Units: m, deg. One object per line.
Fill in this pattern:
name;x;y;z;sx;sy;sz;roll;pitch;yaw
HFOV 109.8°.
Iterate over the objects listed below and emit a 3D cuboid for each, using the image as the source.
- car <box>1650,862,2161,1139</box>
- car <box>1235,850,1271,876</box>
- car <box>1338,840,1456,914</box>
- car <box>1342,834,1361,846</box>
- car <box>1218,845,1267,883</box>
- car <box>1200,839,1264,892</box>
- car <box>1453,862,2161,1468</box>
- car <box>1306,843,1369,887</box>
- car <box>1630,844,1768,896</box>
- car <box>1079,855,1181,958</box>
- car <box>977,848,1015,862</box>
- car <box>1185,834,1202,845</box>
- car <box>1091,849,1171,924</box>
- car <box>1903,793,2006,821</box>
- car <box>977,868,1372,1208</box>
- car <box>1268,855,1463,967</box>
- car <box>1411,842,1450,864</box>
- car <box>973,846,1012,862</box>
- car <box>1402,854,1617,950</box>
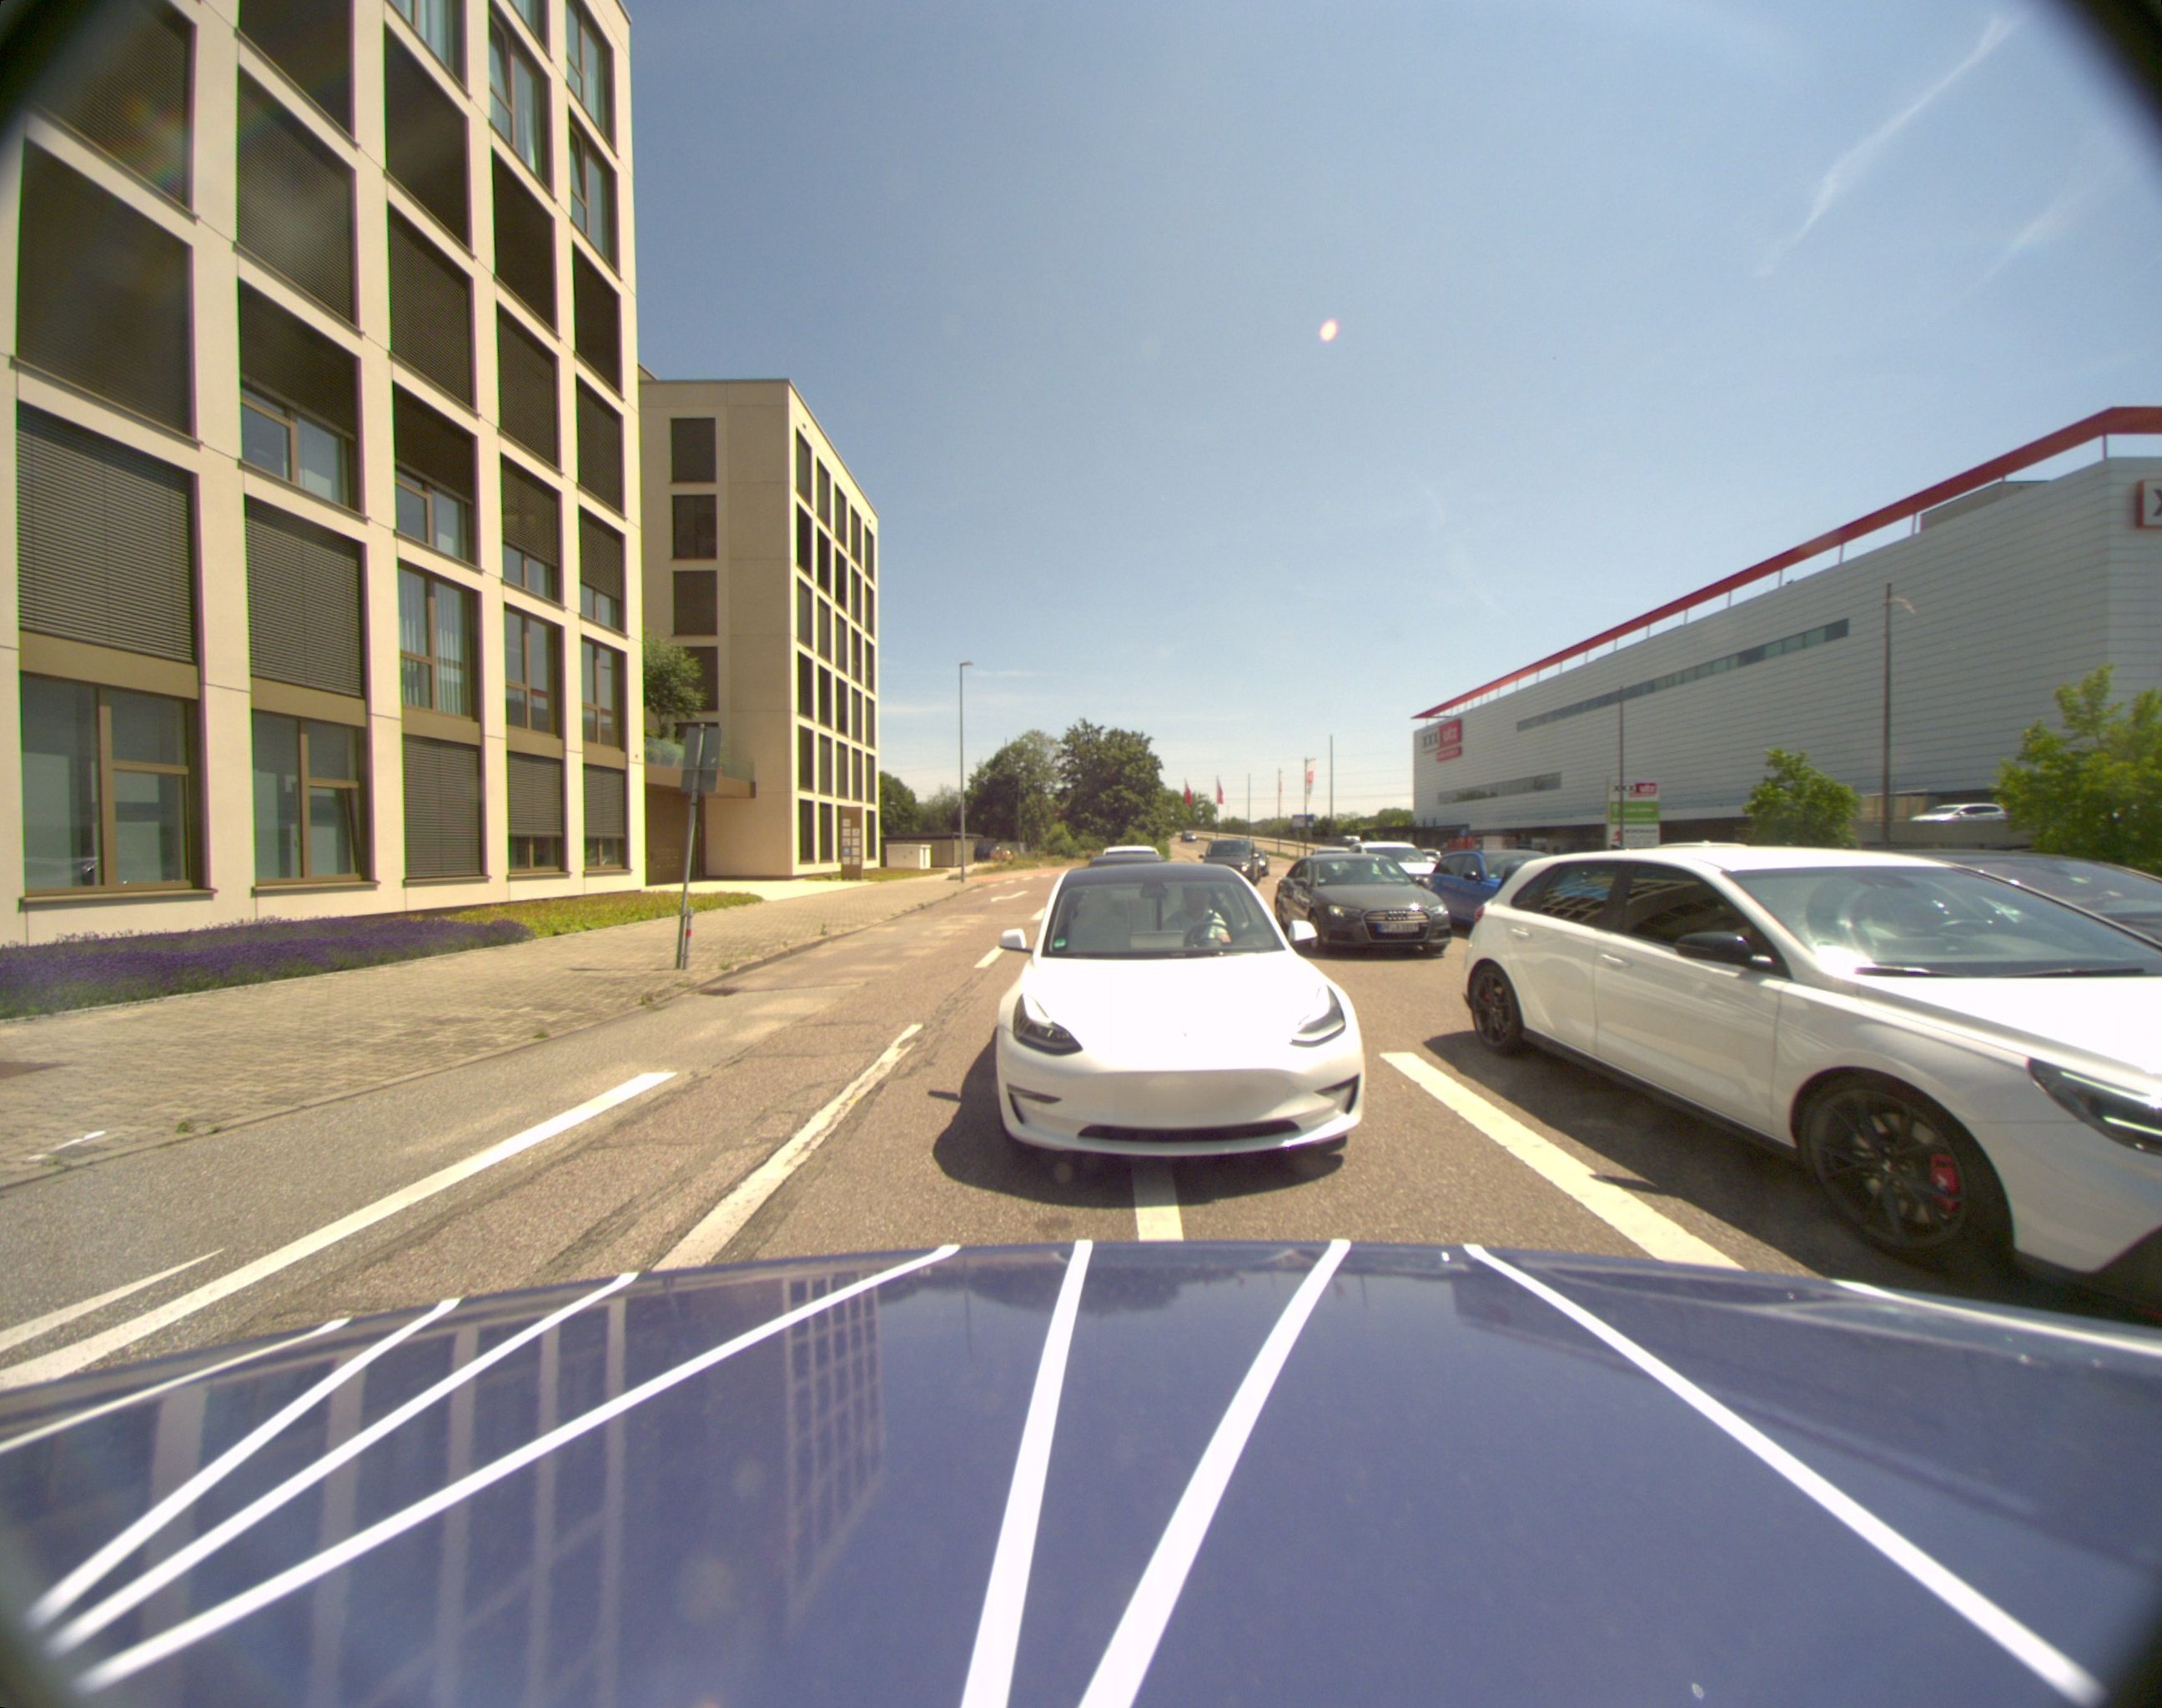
car;6.601;0.797;5.511;1.675;1.396;4.467;-2;0;2
car;9.882;0.474;43.427;1.606;1.431;3.738;0;1;19
car;7.950;0.506;19.565;1.768;1.632;4.494;-2;1;9
car;52.122;-2.713;146.370;2.191;2.270;4.814;0;1;4
car;7.523;0.430;35.101;1.811;1.630;4.005;0;1;18
car;5.770;0.364;28.626;1.893;1.811;4.842;0;1;17
car;3.679;0.823;3.671;1.792;1.428;4.070;-2;1;1
car;9.124;0.369;27.272;1.767;1.414;3.903;-2;0;14
car;21.847;0.526;27.098;1.866;1.713;4.044;0;0;5
car;0.898;0.798;13.523;1.556;1.528;3.822;0;1;5
car;-9.056;0.102;81.236;3.834;1.386;1.736;0;1;-13
car;19.521;-2.493;132.463;1.678;1.805;3.995;-1;1;-11
car;1.267;0.709;18.803;1.777;1.600;3.821;0;1;5
car;51.798;-2.766;45.103;3.996;1.499;1.717;0;1;2
car;0.472;0.919;5.745;1.823;1.428;4.284;-2;1;1
car;4.134;0.732;11.762;1.769;1.374;4.090;0;1;5
car;28.974;-0.084;63.181;1.865;1.713;4.045;0;0;8
car;-9.227;-0.009;79.189;3.834;1.543;1.736;0;1;-13
car;7.381;0.725;13.670;1.768;1.395;4.433;-2;0;7
